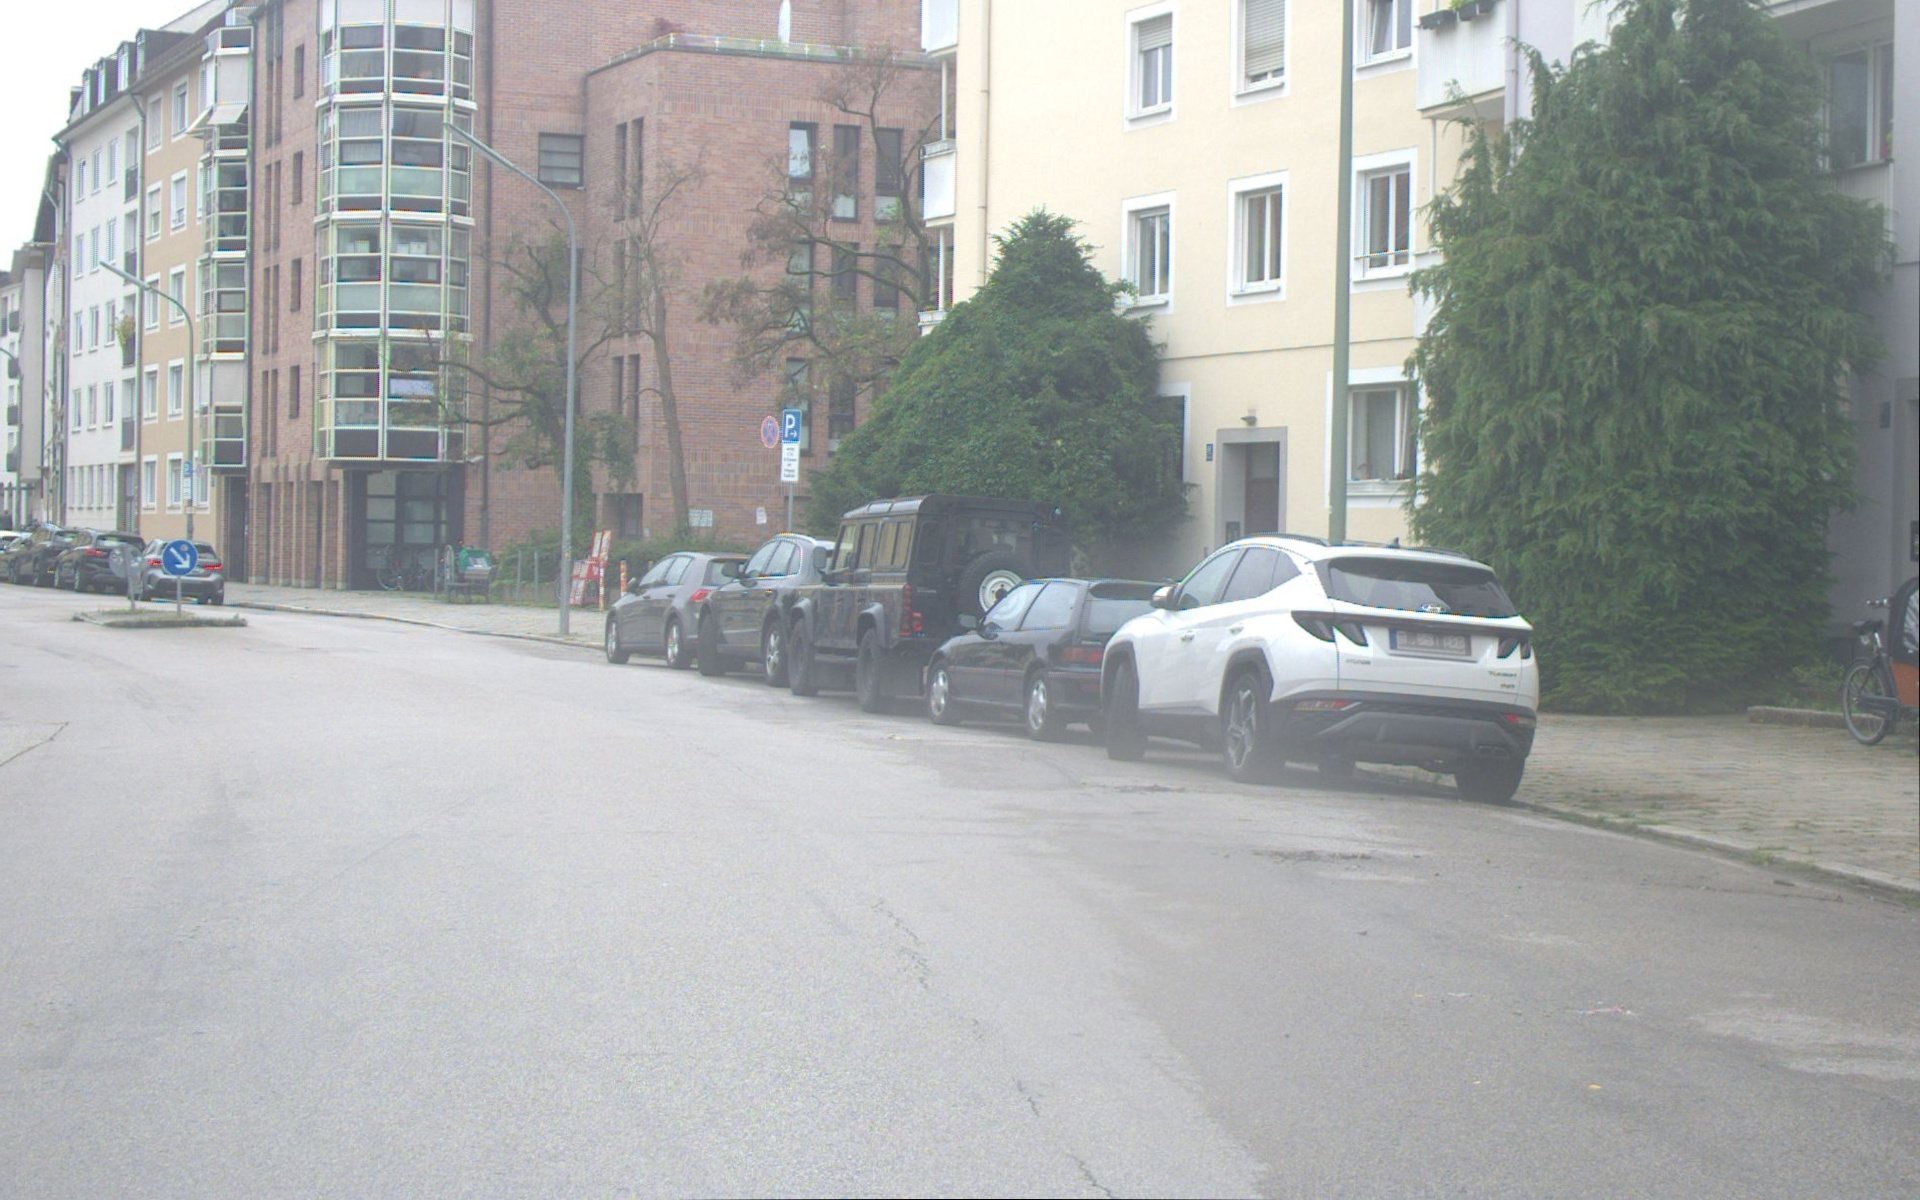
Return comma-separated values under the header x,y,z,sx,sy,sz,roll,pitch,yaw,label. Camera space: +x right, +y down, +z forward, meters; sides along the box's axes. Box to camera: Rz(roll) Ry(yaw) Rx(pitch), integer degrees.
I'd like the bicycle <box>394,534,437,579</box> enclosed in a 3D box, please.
x,y,z,sx,sy,sz,roll,pitch,yaw,label
-13.623,-1.092,85.980,0.486,1.056,1.996,2,1,-24,bicycle

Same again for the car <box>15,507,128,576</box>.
x,y,z,sx,sy,sz,roll,pitch,yaw,label
-23.601,-1.566,91.204,1.964,1.596,4.672,2,2,-26,car

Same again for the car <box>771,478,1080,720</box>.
x,y,z,sx,sy,sz,roll,pitch,yaw,label
-0.421,-0.077,32.850,1.747,2.074,4.517,2,2,-16,car

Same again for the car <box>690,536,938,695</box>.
x,y,z,sx,sy,sz,roll,pitch,yaw,label
-1.668,0.123,37.570,1.658,1.560,4.516,2,1,-16,car

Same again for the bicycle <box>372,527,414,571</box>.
x,y,z,sx,sy,sz,roll,pitch,yaw,label
-14.146,-1.283,85.751,0.486,1.056,1.996,2,0,-25,bicycle

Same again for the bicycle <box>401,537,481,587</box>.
x,y,z,sx,sy,sz,roll,pitch,yaw,label
-12.747,-0.935,84.424,1.847,1.143,0.488,2,1,-16,bicycle

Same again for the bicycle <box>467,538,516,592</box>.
x,y,z,sx,sy,sz,roll,pitch,yaw,label
-10.543,-0.786,77.359,0.420,1.169,1.360,3,2,23,bicycle

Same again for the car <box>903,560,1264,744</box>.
x,y,z,sx,sy,sz,roll,pitch,yaw,label
0.937,0.387,28.254,1.658,1.344,3.805,2,0,-19,car

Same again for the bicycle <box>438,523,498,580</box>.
x,y,z,sx,sy,sz,roll,pitch,yaw,label
-11.186,-1.102,78.128,0.534,1.244,2.413,2,0,-28,bicycle

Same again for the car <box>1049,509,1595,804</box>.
x,y,z,sx,sy,sz,roll,pitch,yaw,label
2.294,0.301,23.267,2.025,1.672,4.615,2,2,-16,car

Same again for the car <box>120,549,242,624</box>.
x,y,z,sx,sy,sz,roll,pitch,yaw,label
-17.502,-0.328,77.086,1.924,1.507,4.393,2,1,-22,car

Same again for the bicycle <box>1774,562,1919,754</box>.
x,y,z,sx,sy,sz,roll,pitch,yaw,label
7.235,0.425,26.286,0.742,1.363,2.472,-3,2,-18,bicycle

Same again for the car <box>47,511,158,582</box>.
x,y,z,sx,sy,sz,roll,pitch,yaw,label
-21.635,-1.363,86.635,1.830,1.596,4.267,2,2,-26,car

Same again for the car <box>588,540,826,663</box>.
x,y,z,sx,sy,sz,roll,pitch,yaw,label
-3.191,-0.003,42.621,1.754,1.391,4.046,2,0,-22,car

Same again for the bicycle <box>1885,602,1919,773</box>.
x,y,z,sx,sy,sz,roll,pitch,yaw,label
7.200,0.608,23.265,0.576,1.154,1.832,-3,2,-37,bicycle

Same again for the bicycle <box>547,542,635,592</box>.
x,y,z,sx,sy,sz,roll,pitch,yaw,label
-7.664,-0.680,71.358,1.700,0.962,0.546,2,2,-21,bicycle
